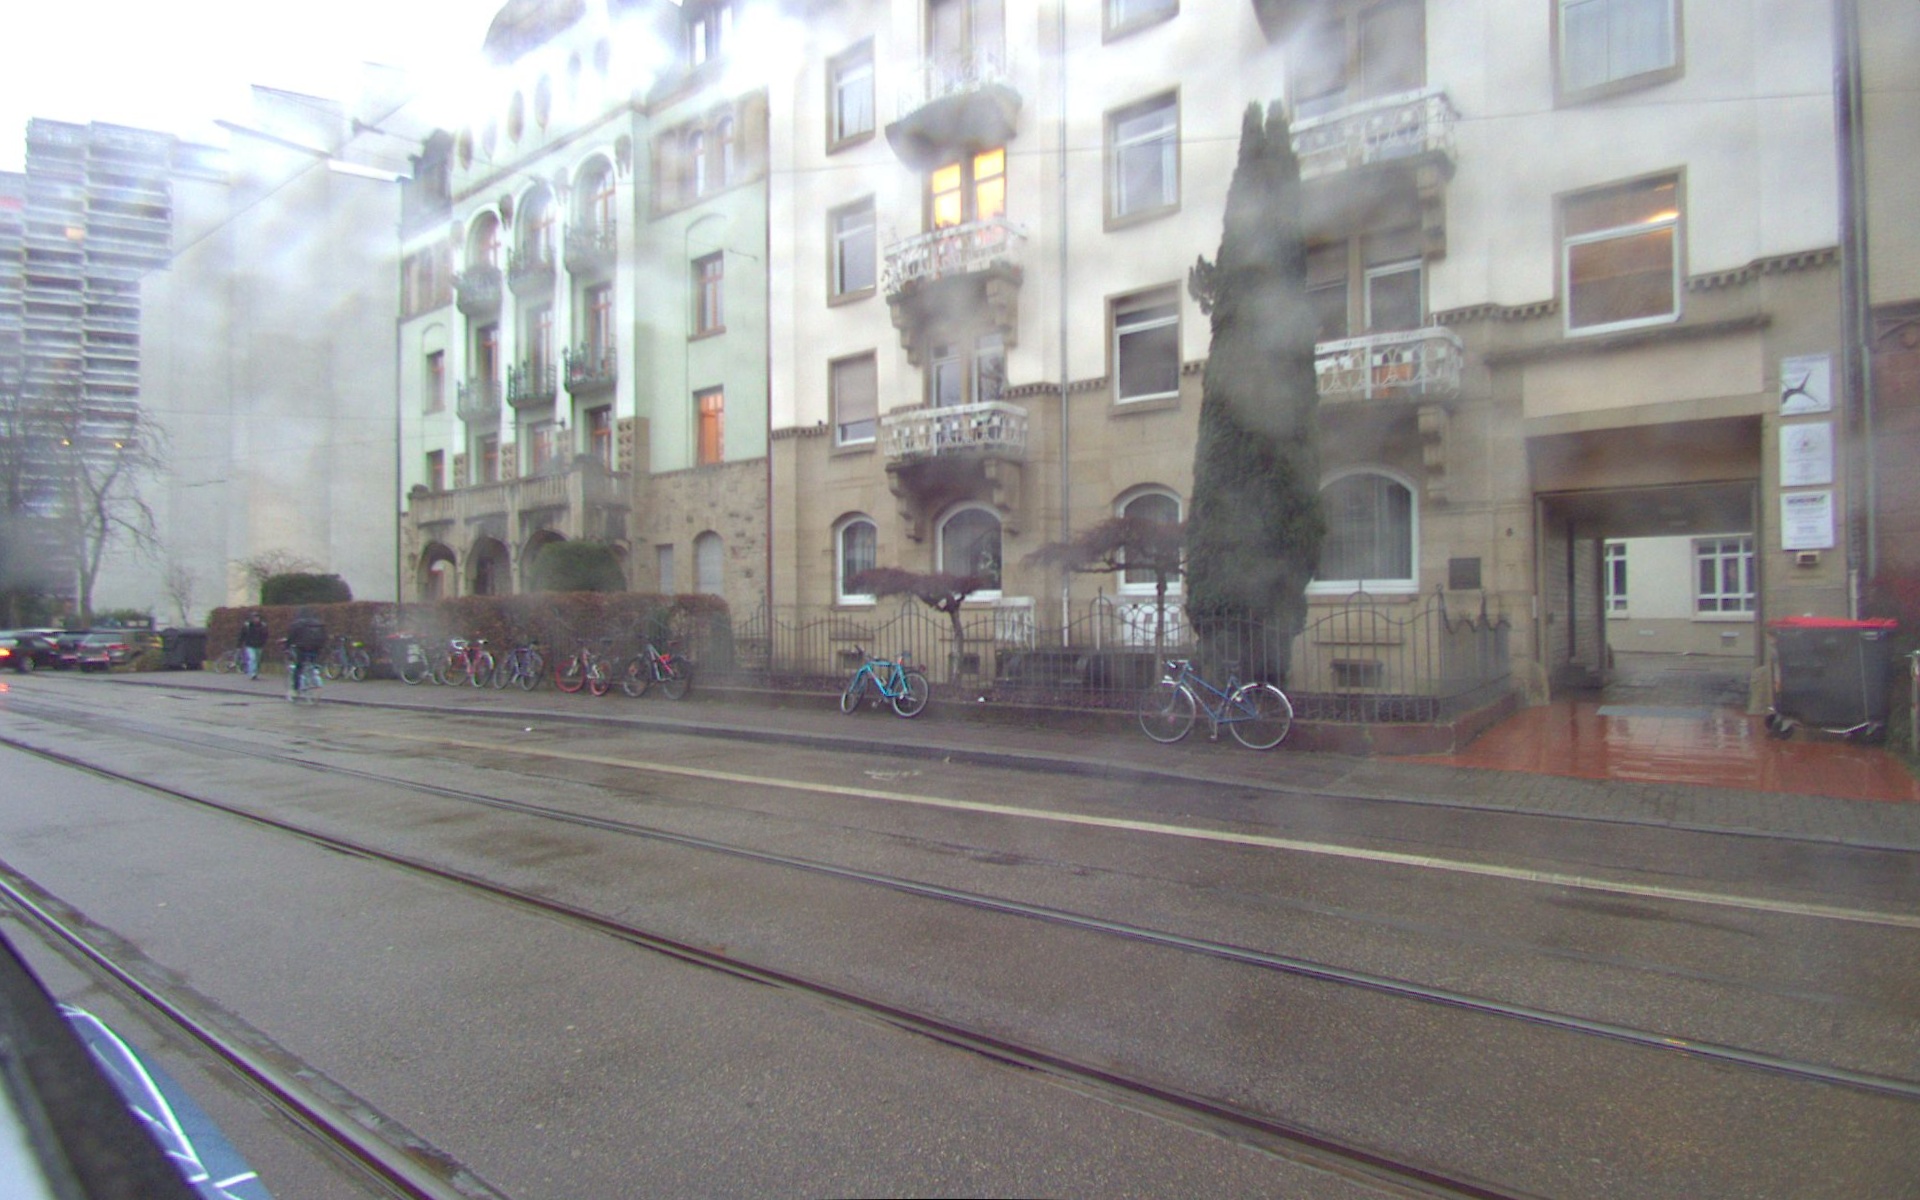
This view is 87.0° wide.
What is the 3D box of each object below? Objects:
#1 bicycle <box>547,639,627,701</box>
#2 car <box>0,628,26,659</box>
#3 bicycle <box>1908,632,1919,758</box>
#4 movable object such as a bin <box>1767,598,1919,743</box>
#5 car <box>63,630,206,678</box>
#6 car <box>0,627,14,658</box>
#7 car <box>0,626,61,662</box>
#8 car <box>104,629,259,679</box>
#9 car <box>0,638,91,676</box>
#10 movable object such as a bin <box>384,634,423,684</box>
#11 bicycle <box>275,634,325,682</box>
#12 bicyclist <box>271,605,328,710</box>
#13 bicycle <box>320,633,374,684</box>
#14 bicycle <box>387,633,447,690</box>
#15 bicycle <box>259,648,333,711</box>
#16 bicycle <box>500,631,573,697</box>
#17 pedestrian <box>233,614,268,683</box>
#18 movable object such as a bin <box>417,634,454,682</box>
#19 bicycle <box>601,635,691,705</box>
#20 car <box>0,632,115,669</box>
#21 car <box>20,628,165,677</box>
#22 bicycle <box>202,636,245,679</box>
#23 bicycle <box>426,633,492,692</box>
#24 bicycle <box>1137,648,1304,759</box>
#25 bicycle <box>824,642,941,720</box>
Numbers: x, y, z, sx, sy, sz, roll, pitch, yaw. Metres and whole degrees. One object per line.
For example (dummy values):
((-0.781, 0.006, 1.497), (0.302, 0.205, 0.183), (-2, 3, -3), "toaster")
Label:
((-6.906, 1.271, 18.690), (1.725, 1.073, 0.617), (-2, -2, 40), "bicycle")
((-49.975, 2.232, 51.138), (1.843, 1.608, 3.999), (-1, -1, 0), "car")
((8.694, 0.893, 8.607), (0.694, 1.114, 2.326), (-2, 1, 38), "bicycle")
((9.378, 0.708, 10.799), (1.166, 1.390, 1.092), (-2, 1, 39), "movable object such as a bin")
((-28.651, 1.831, 35.294), (1.740, 1.497, 3.999), (-1, -1, 0), "car")
((-52.371, 2.276, 53.072), (1.843, 1.608, 3.999), (-1, -1, 0), "car")
((-44.698, 2.034, 47.286), (1.843, 1.608, 3.999), (-1, -1, 0), "car")
((-26.132, 1.778, 34.151), (1.847, 1.505, 3.989), (-1, -1, 8), "car")
((-33.204, 1.994, 35.877), (1.687, 1.262, 3.666), (0, -2, -1), "car")
((-13.532, 1.419, 24.611), (0.674, 1.173, 0.651), (-2, -2, 40), "movable object such as a bin")
((-17.231, 1.498, 26.410), (1.661, 1.221, 0.617), (-2, -2, 40), "bicycle")
((-12.249, 1.045, 18.776), (0.990, 1.891, 0.617), (-2, -2, 40), "bicyclist")
((-15.147, 1.430, 24.996), (1.661, 1.221, 0.617), (-2, -2, 40), "bicycle")
((-12.142, 1.356, 22.622), (1.661, 1.221, 0.617), (-2, -2, 40), "bicycle")
((-12.423, 1.461, 18.918), (1.946, 1.101, 0.617), (-2, -2, 40), "bicycle")
((-8.281, 1.233, 19.775), (1.661, 1.221, 0.617), (-2, -2, 40), "bicycle")
((-18.246, 1.237, 26.023), (0.644, 1.738, 0.567), (0, 1, 41), "pedestrian")
((-13.023, 1.428, 25.139), (0.674, 1.173, 0.617), (-2, -2, 40), "movable object such as a bin")
((-5.447, 1.186, 17.505), (1.781, 1.134, 0.617), (-2, -2, 40), "bicycle")
((-39.285, 2.158, 43.936), (1.843, 1.460, 3.999), (-1, -1, 0), "car")
((-31.333, 1.839, 36.706), (1.843, 1.608, 3.999), (-1, -1, 0), "car")
((-21.457, 1.658, 29.464), (1.661, 1.173, 0.617), (-2, -1, 40), "bicycle")
((-10.550, 1.291, 21.295), (1.661, 1.173, 0.617), (-2, -2, 40), "bicycle")
((2.838, 1.097, 11.113), (1.661, 1.101, 0.617), (-2, -2, 40), "bicycle")
((-1.101, 1.105, 14.151), (1.661, 1.010, 0.617), (-2, -2, 40), "bicycle")
